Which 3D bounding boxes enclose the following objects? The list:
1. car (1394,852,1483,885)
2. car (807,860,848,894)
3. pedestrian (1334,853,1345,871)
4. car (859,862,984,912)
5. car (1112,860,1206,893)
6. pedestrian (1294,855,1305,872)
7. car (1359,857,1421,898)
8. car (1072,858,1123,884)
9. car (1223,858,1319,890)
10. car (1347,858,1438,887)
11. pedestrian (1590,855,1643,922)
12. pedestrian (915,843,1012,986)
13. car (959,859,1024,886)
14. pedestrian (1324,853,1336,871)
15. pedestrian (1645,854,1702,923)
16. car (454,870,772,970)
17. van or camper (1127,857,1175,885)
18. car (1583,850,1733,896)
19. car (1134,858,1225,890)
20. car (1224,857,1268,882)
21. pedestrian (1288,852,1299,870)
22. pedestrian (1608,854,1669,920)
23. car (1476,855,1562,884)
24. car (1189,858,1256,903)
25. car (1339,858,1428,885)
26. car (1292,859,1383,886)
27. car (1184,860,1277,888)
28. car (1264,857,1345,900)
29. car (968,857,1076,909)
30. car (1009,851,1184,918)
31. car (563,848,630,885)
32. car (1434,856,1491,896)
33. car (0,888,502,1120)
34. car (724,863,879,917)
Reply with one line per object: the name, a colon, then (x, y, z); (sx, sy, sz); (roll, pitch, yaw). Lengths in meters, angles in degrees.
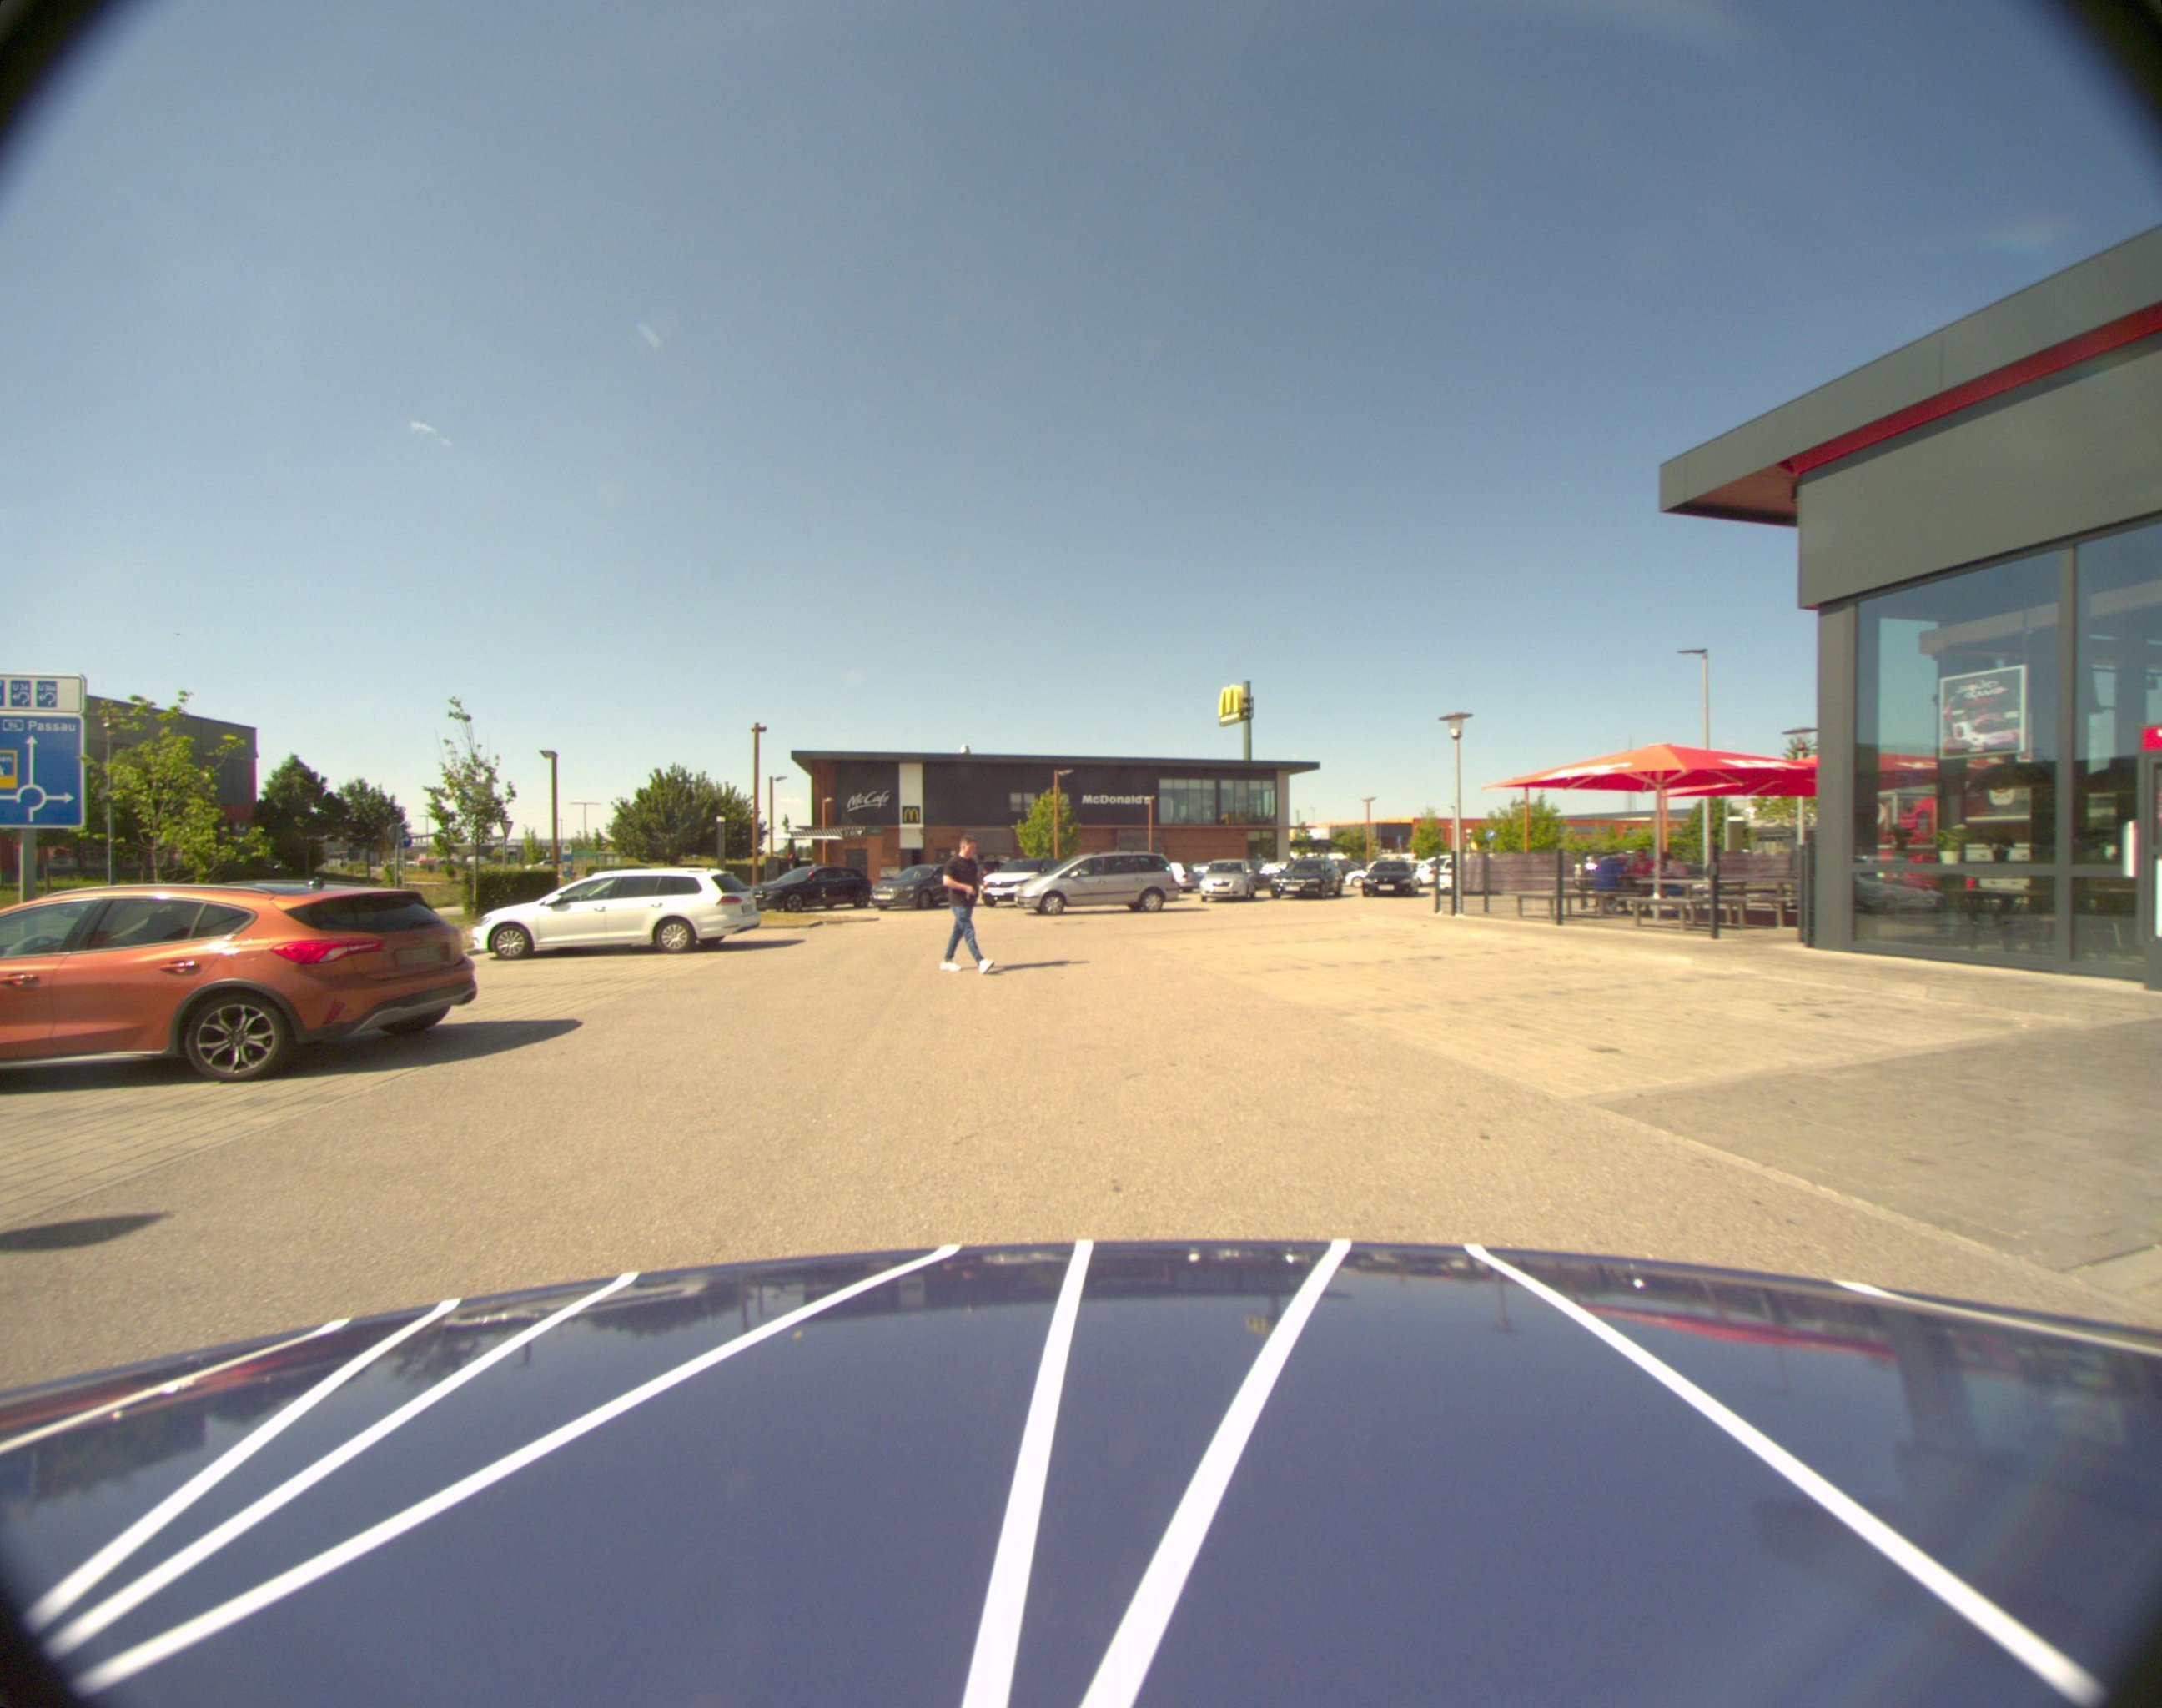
car: (19.224, 0.780, 40.892); (4.103, 1.664, 1.817); (-1, 0, 32)
car: (-13.674, 1.191, 41.101); (1.999, 1.681, 4.229); (0, 0, -18)
pedestrian: (22.601, 0.676, 66.431); (0.702, 1.550, 0.721); (-1, 0, -13)
car: (-5.179, 1.026, 25.242); (1.970, 1.517, 4.214); (-1, -1, 24)
car: (3.677, 1.055, 36.030); (4.103, 1.484, 1.715); (-1, 0, 32)
pedestrian: (19.842, 0.874, 68.950); (0.723, 1.550, 0.700); (0, 0, -42)
car: (12.040, 0.855, 29.433); (1.832, 1.451, 4.379); (-1, -1, 27)
car: (1.136, 1.088, 49.444); (1.710, 1.505, 3.957); (-4, -1, 26)
car: (9.468, 0.994, 37.948); (4.268, 1.478, 1.817); (-1, 0, 32)
car: (16.237, 0.962, 39.677); (4.103, 1.405, 1.817); (-1, 0, 32)
pedestrian: (10.395, 0.654, 14.753); (0.625, 1.266, 0.612); (-1, 0, -30)
pedestrian: (-1.530, 0.767, 10.011); (0.992, 1.798, 0.727); (-2, 1, 15)
car: (-5.636, 1.139, 48.220); (1.957, 1.593, 4.476); (-1, -1, 26)
pedestrian: (21.559, 0.680, 65.817); (0.702, 1.550, 0.721); (-1, 0, -13)
pedestrian: (11.208, 0.633, 14.386); (0.552, 1.266, 0.684); (-1, 0, -30)
car: (-8.188, 1.111, 13.695); (4.481, 1.460, 1.832); (-2, 0, -7)
van or camper: (4.685, 1.116, 50.543); (1.707, 1.764, 4.036); (-1, -1, 29)
car: (21.066, 0.672, 28.007); (4.291, 1.581, 1.861); (0, 0, 33)
car: (4.885, 0.988, 37.914); (4.103, 1.506, 1.817); (-1, 0, 32)
car: (11.279, 1.033, 51.790); (1.712, 1.603, 4.044); (-1, -1, 30)
pedestrian: (18.632, 0.634, 66.619); (0.723, 1.550, 0.700); (0, 0, -42)
pedestrian: (11.107, 0.638, 15.135); (0.843, 1.266, 0.684); (-1, 0, -30)
car: (23.732, 0.838, 41.295); (3.989, 1.543, 1.758); (-1, -1, 29)
car: (5.254, 0.921, 27.719); (1.971, 1.517, 4.213); (-1, -1, 16)
car: (17.976, 1.027, 45.208); (4.632, 1.478, 1.899); (-1, 0, 32)
car: (14.826, 1.049, 43.977); (4.632, 1.478, 1.899); (-1, 0, 32)
car: (8.239, 1.099, 41.937); (4.632, 1.478, 1.899); (-1, 0, 32)
car: (8.578, 0.886, 28.882); (1.970, 1.478, 4.793); (-1, -1, 29)
car: (-1.918, 0.940, 26.113); (1.971, 1.644, 4.214); (-1, -1, 23)
car: (0.412, 0.828, 21.814); (4.685, 1.738, 1.831); (-1, 0, -14)
car: (-31.045, 0.793, 48.887); (2.001, 2.184, 5.101); (-1, -1, -12)
car: (15.273, 0.825, 30.306); (1.832, 1.451, 4.593); (-1, -1, 29)
car: (-7.692, 1.126, 6.190); (4.352, 1.460, 1.832); (-2, 0, -7)
car: (-8.774, 1.062, 24.225); (1.970, 1.517, 4.342); (0, 0, 31)
